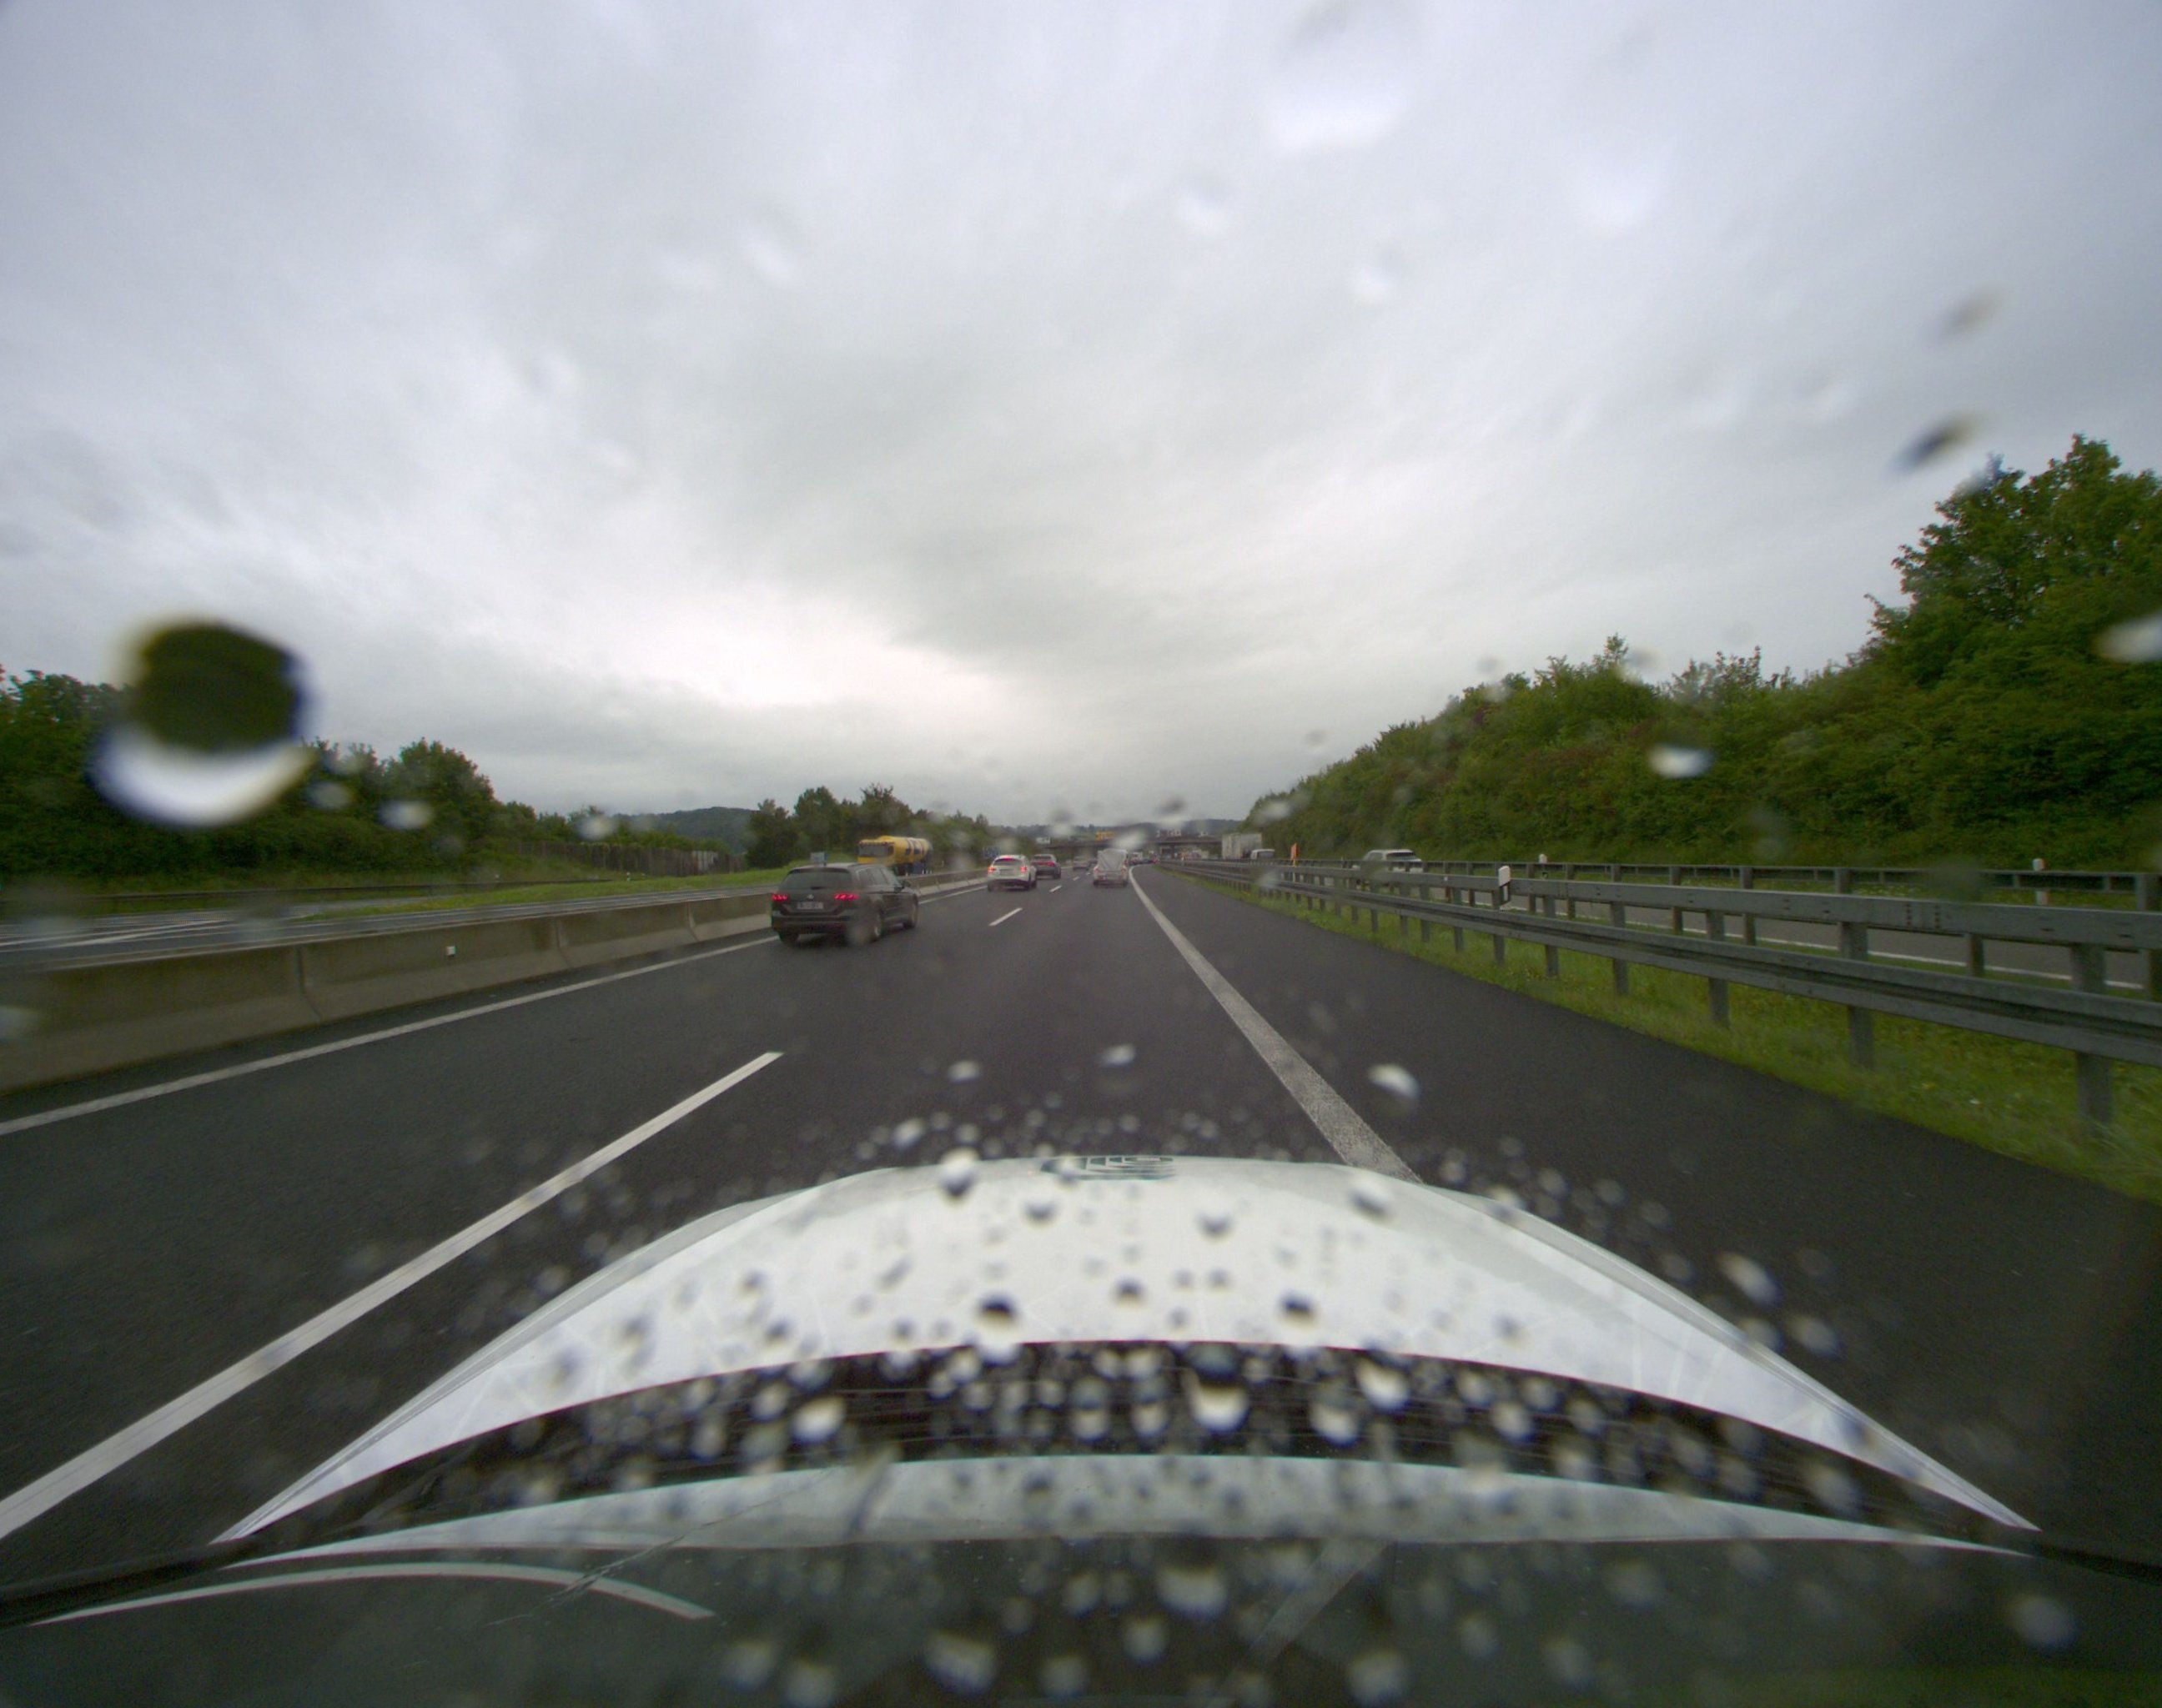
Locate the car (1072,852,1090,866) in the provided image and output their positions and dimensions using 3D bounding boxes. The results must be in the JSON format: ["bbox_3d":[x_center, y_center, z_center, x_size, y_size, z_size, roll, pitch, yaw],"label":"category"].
[{"bbox_3d":[0.010,0.560,94.449,1.894,1.613,4.017,-1,0,1],"label":"car"}]

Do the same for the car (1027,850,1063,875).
[{"bbox_3d":[-2.470,0.588,56.856,2.166,1.631,4.502,-1,0,1],"label":"car"}]

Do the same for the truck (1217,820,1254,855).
[{"bbox_3d":[20.249,-2.093,107.547,3.423,4.289,10.426,-1,0,3],"label":"truck"}]

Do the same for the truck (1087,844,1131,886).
[{"bbox_3d":[1.565,0.535,43.117,2.010,1.985,7.221,-1,0,4],"label":"truck"}]

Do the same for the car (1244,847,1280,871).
[{"bbox_3d":[14.129,0.372,63.716,1.853,1.805,4.648,-1,0,1],"label":"car"}]

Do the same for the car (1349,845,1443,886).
[{"bbox_3d":[12.877,0.444,33.656,2.002,1.548,4.694,-1,0,-1],"label":"car"}]

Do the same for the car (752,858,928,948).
[{"bbox_3d":[-4.546,0.842,16.236,1.893,1.497,4.854,-1,0,2],"label":"car"}]

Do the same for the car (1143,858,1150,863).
[{"bbox_3d":[19.444,1.918,240.996,1.984,1.750,4.005,0,0,4],"label":"car"}]

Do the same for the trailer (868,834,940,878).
[{"bbox_3d":[-14.589,0.184,68.179,2.749,3.398,11.459,0,0,4],"label":"trailer"}]

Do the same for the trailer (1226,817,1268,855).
[{"bbox_3d":[19.683,-2.045,97.188,3.423,4.289,10.462,-1,0,3],"label":"trailer"}]

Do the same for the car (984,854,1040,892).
[{"bbox_3d":[-3.175,0.829,38.327,1.968,1.639,4.504,-1,0,3],"label":"car"}]

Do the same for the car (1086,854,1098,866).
[{"bbox_3d":[1.764,0.916,127.722,1.835,1.819,4.000,-1,0,1],"label":"car"}]

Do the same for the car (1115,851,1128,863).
[{"bbox_3d":[7.202,0.482,144.711,1.987,2.036,4.150,0,0,-1],"label":"car"}]

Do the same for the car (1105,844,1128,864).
[{"bbox_3d":[4.971,-0.039,114.592,3.003,2.616,6.081,-1,0,4],"label":"car"}]

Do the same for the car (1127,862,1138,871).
[{"bbox_3d":[10.324,2.470,164.543,1.987,1.750,3.998,0,0,-1],"label":"car"}]

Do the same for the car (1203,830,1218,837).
[{"bbox_3d":[38.157,-5.984,239.947,1.851,1.915,3.956,0,-1,-36],"label":"car"}]

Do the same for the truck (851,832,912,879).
[{"bbox_3d":[-15.034,0.153,61.789,2.749,3.398,5.852,0,0,4],"label":"truck"}]

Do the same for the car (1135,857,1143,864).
[{"bbox_3d":[15.140,1.734,213.765,1.985,1.750,4.003,0,0,3],"label":"car"}]

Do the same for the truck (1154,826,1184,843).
[{"bbox_3d":[27.691,-6.060,256.516,3.793,4.836,9.939,-1,0,-33],"label":"truck"}]
